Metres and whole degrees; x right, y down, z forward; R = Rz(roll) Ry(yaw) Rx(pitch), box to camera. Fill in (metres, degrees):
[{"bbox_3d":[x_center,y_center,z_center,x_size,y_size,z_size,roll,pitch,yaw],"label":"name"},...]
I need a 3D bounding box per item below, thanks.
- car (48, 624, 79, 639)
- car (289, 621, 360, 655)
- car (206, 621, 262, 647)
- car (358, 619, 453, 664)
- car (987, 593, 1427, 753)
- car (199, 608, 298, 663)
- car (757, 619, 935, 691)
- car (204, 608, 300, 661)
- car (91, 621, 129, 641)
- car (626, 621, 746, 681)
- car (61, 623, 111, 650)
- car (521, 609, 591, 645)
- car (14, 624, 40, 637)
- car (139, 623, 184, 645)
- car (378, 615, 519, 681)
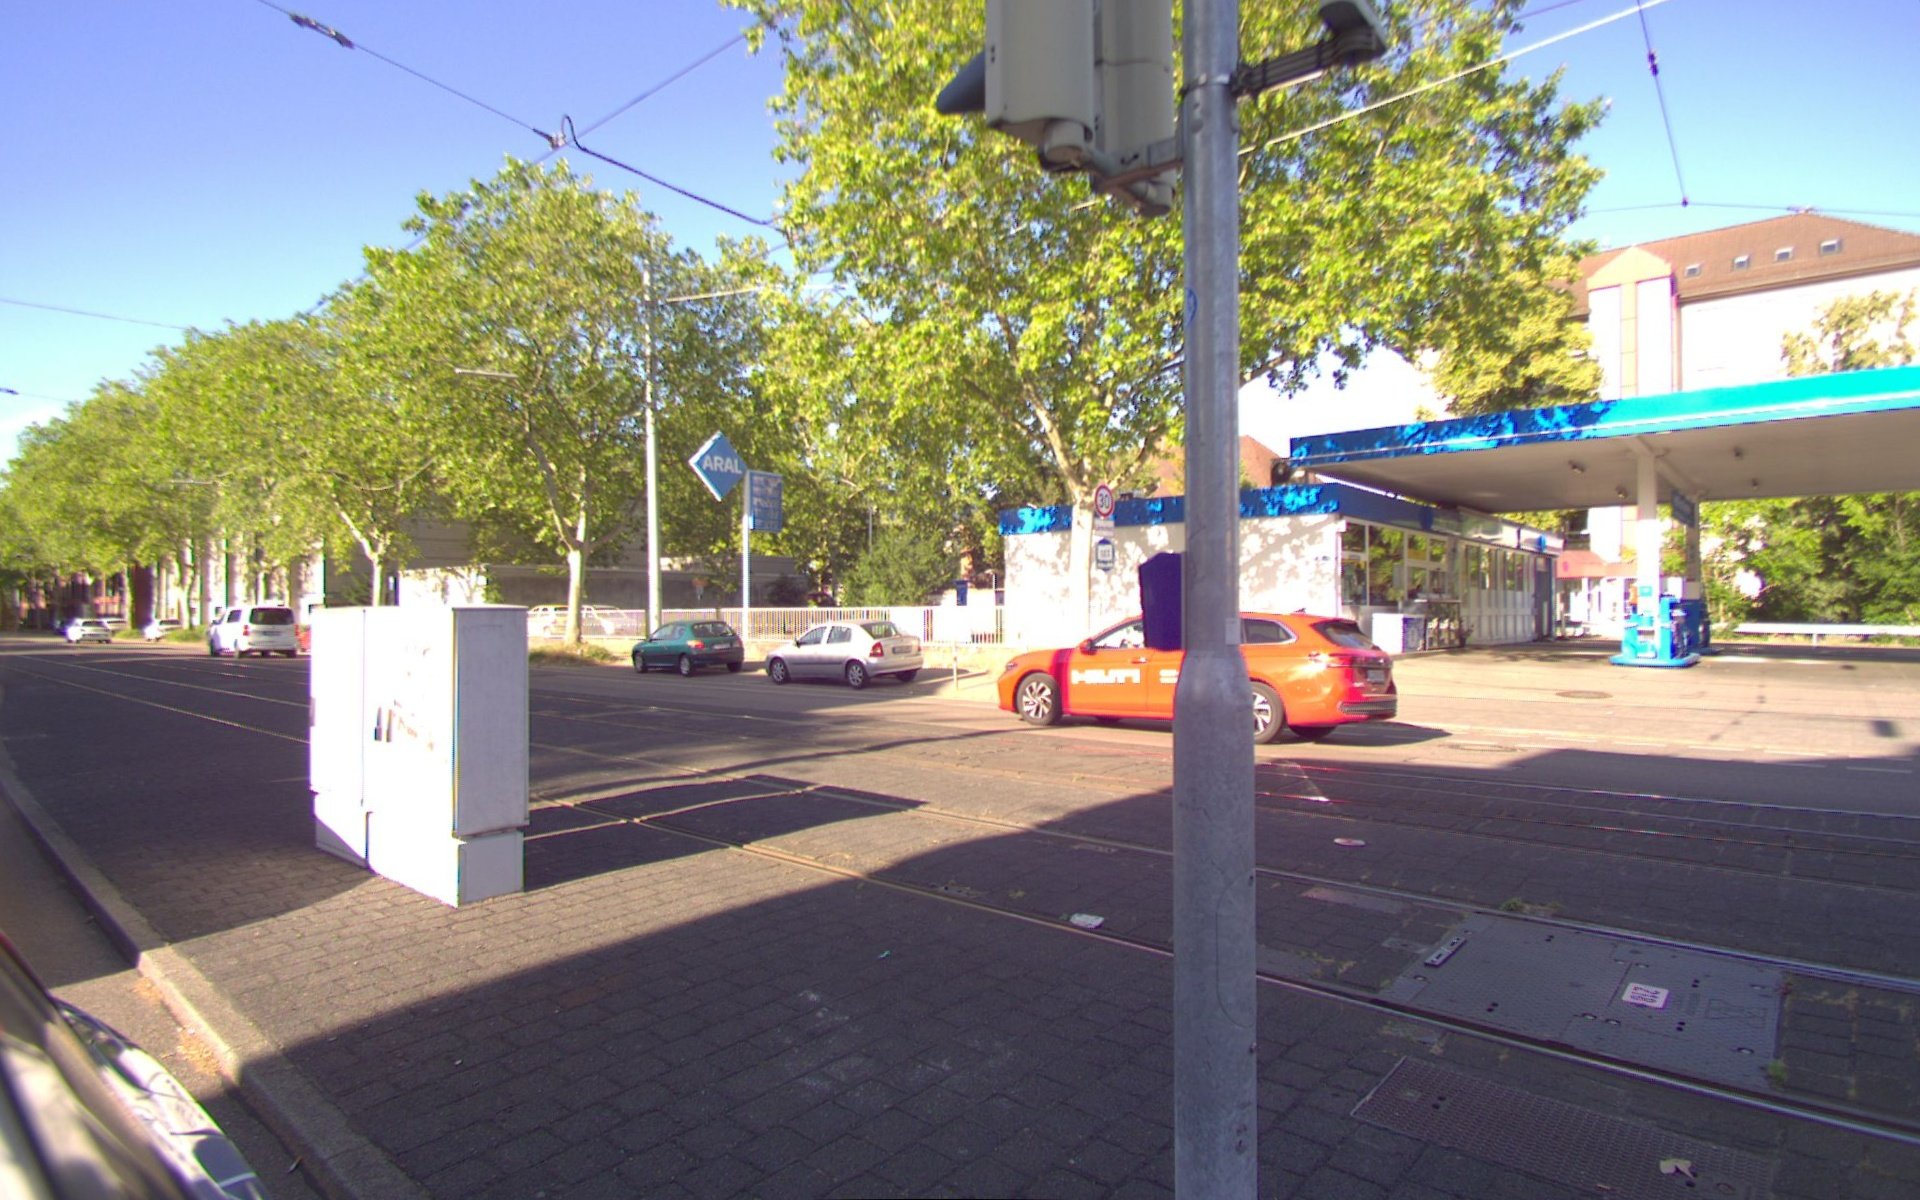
[{"bbox_3d":[-85.182,2.966,96.161,3.998,1.420,1.678,-1,-2,41],"label":"car"},{"bbox_3d":[-29.016,1.697,46.173,3.998,1.480,1.678,-1,-2,41],"label":"car"},{"bbox_3d":[-40.598,1.884,56.575,3.998,1.420,1.678,-1,-2,41],"label":"car"},{"bbox_3d":[-22.089,1.606,40.241,4.431,1.534,1.731,-1,3,40],"label":"car"},{"bbox_3d":[2.754,0.762,12.027,4.762,1.534,1.887,-1,-3,41],"label":"car"},{"bbox_3d":[-26.680,1.358,37.864,5.111,1.889,1.863,-4,-2,41],"label":"car"},{"bbox_3d":[-2.610,1.162,22.634,3.998,1.431,1.709,-1,0,41],"label":"car"},{"bbox_3d":[-26.420,1.257,37.719,4.390,1.860,1.827,-1,-2,39],"label":"car"},{"bbox_3d":[-66.811,2.408,79.545,3.998,1.569,1.678,-1,-2,41],"label":"car"},{"bbox_3d":[-7.283,1.300,26.810,3.253,1.431,1.526,-1,0,41],"label":"car"},{"bbox_3d":[-52.459,2.157,60.735,3.998,1.507,1.741,-1,0,41],"label":"car"},{"bbox_3d":[-16.792,1.093,42.022,3.151,1.431,1.525,-1,0,44],"label":"car"},{"bbox_3d":[-103.229,3.380,111.969,3.998,1.420,1.678,-1,-2,41],"label":"car"},{"bbox_3d":[-53.809,2.285,68.198,3.998,1.420,1.678,-1,-2,41],"label":"car"},{"bbox_3d":[-12.808,1.170,25.264,3.998,1.431,1.678,-1,-6,41],"label":"car"}]
